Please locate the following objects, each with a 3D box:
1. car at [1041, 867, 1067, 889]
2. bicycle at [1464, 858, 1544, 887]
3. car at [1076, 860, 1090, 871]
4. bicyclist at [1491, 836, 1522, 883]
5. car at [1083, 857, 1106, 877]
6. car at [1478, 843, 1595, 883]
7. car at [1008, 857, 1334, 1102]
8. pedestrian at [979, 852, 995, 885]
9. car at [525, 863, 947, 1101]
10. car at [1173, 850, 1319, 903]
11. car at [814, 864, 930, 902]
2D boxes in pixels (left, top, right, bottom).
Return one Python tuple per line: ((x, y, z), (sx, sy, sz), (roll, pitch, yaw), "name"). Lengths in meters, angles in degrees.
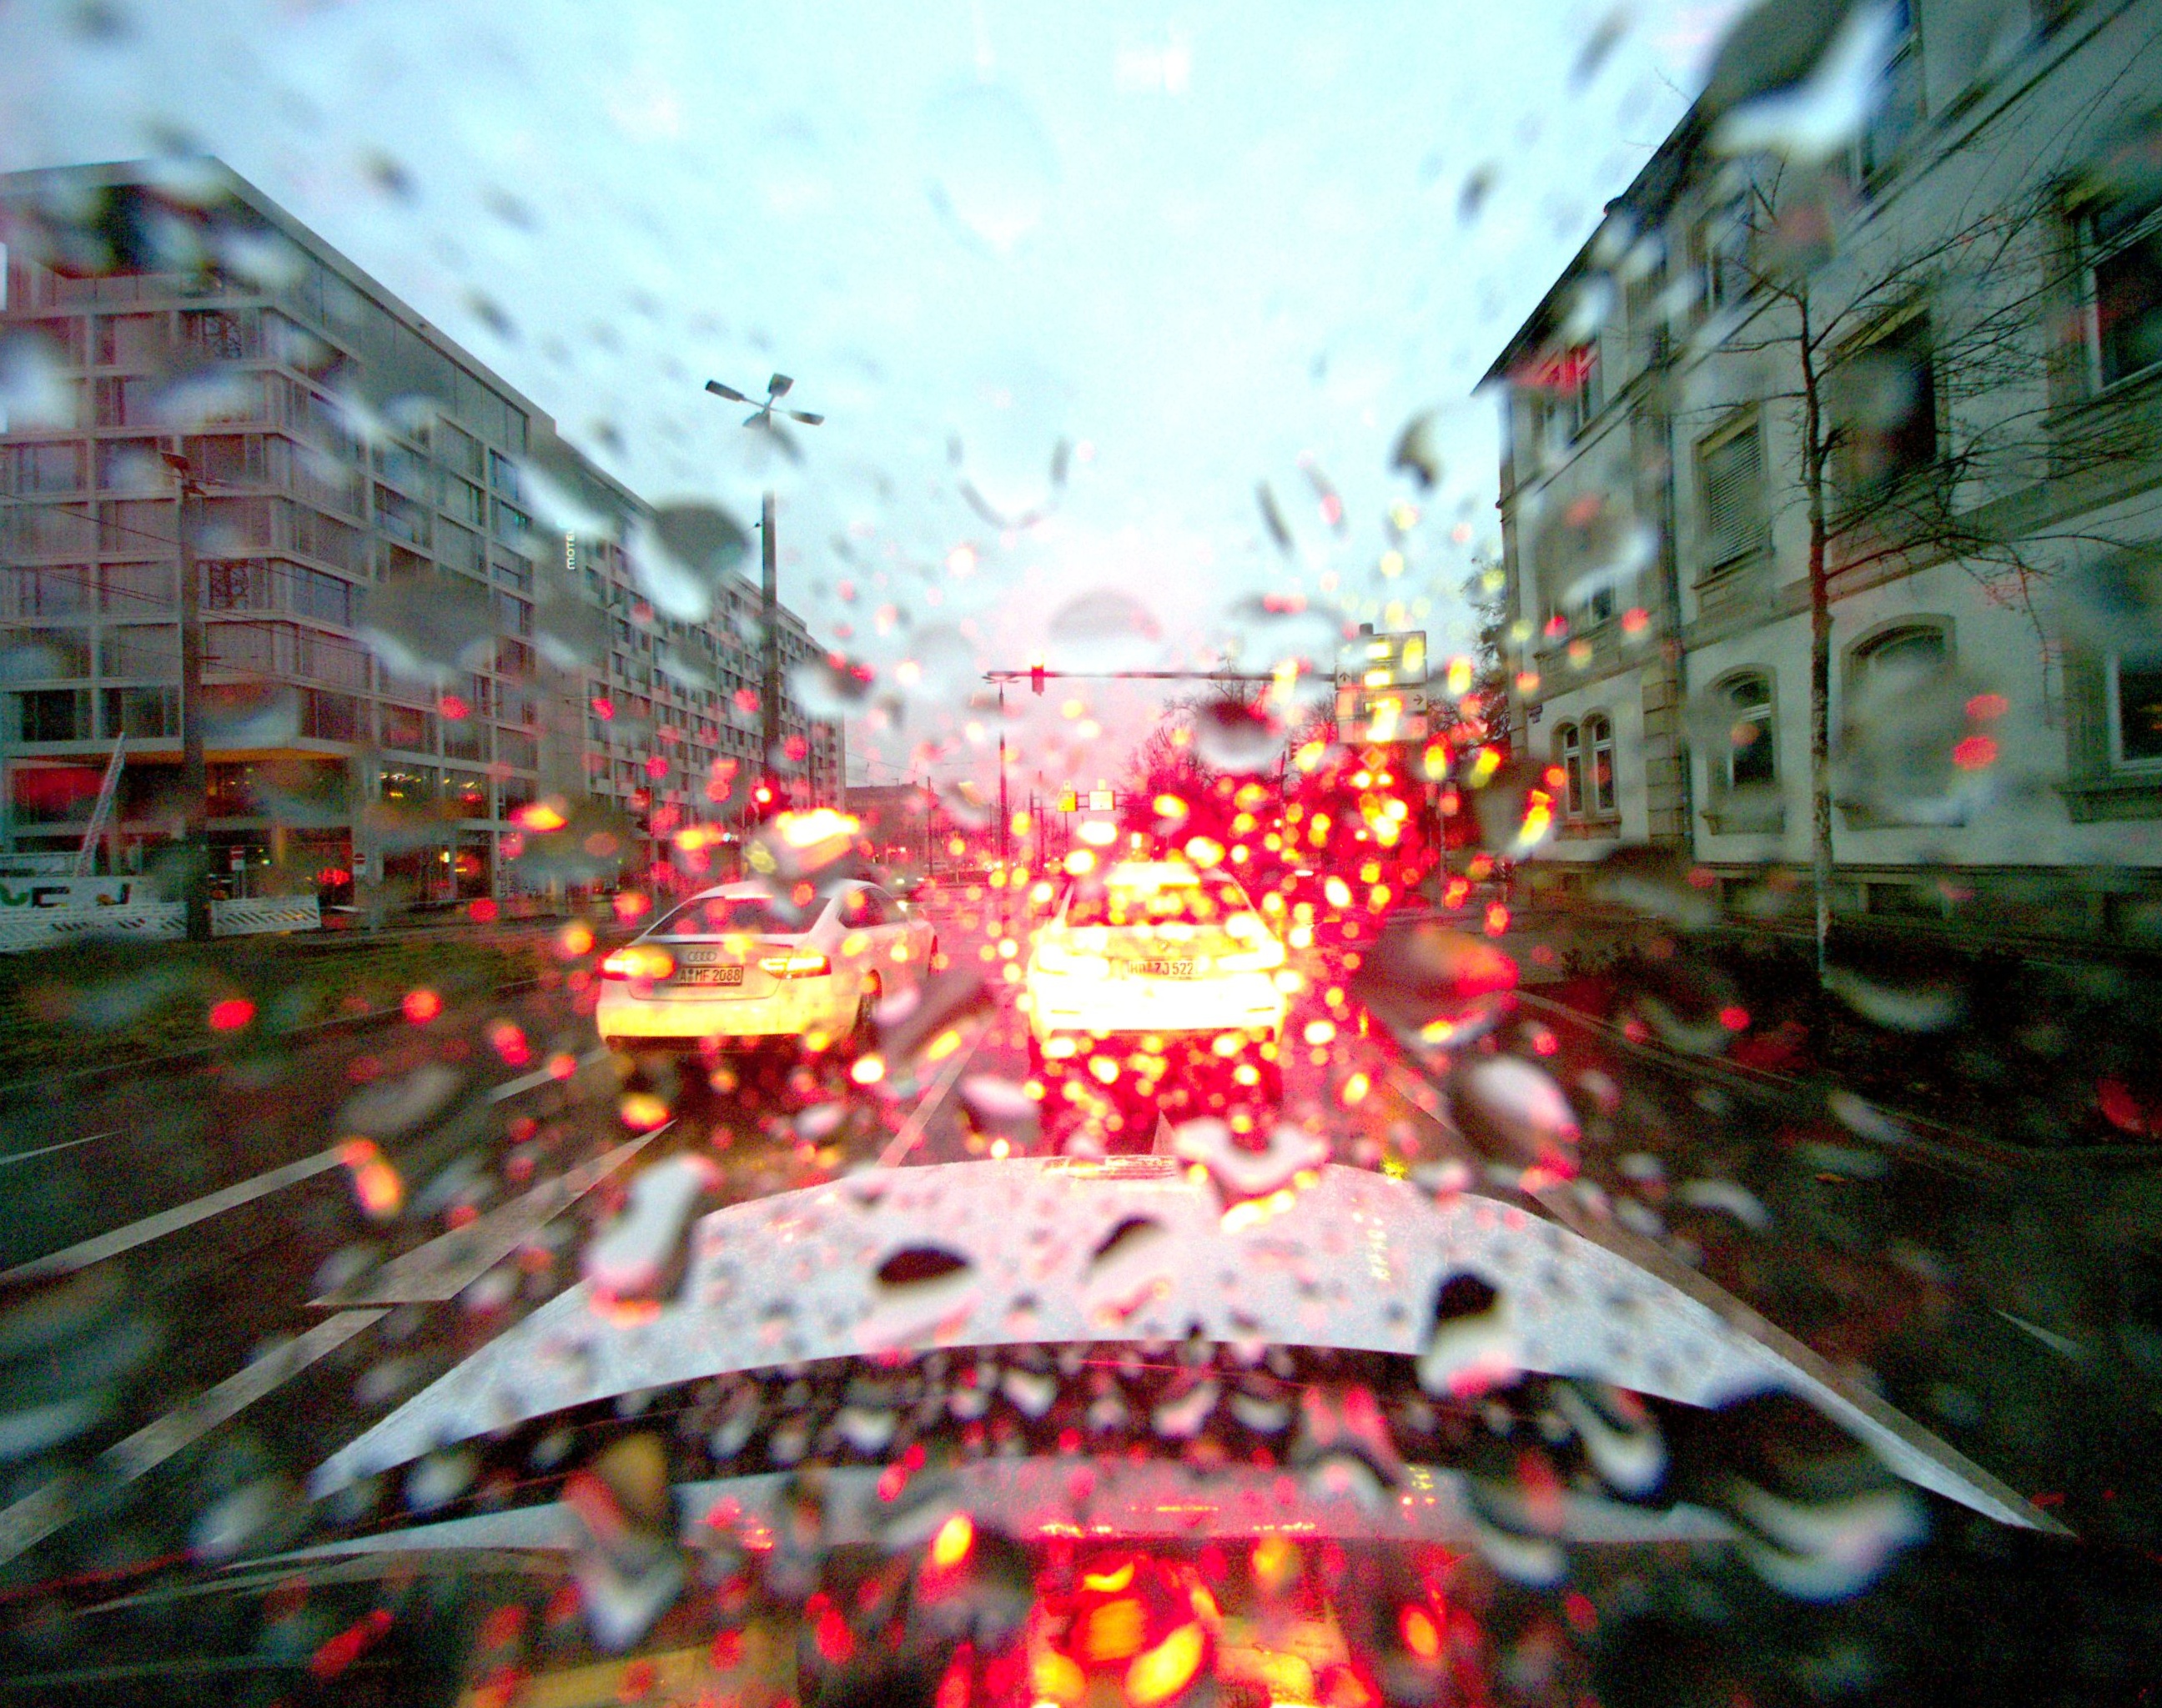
((-2.007, 1.759, 60.353), (1.838, 1.609, 3.941), (0, -1, -3), "car")
((16.073, 0.700, 31.009), (2.643, 1.089, 0.819), (0, -1, 23), "bicycle")
((0.296, 1.621, 117.350), (1.987, 1.456, 4.367), (-1, 0, 0), "car")
((16.187, 0.223, 30.984), (0.963, 1.759, 0.818), (-1, -1, 23), "bicyclist")
((1.173, 1.054, 67.335), (1.836, 1.609, 3.946), (0, -1, 2), "car")
((18.129, 0.374, 32.609), (3.920, 1.554, 1.759), (0, -1, 23), "car")
((0.557, 0.778, 7.209), (1.987, 1.456, 4.367), (-1, 0, 0), "car")
((-5.430, 0.831, 47.136), (0.901, 1.856, 0.811), (0, -1, -3), "pedestrian")
((-2.593, 0.851, 7.468), (1.987, 1.456, 4.367), (-1, 0, 0), "car")
((5.727, 0.801, 28.220), (4.655, 1.720, 1.911), (-1, -1, 21), "car")
((-8.641, 1.173, 33.837), (4.285, 1.530, 1.768), (0, -1, 11), "car")
